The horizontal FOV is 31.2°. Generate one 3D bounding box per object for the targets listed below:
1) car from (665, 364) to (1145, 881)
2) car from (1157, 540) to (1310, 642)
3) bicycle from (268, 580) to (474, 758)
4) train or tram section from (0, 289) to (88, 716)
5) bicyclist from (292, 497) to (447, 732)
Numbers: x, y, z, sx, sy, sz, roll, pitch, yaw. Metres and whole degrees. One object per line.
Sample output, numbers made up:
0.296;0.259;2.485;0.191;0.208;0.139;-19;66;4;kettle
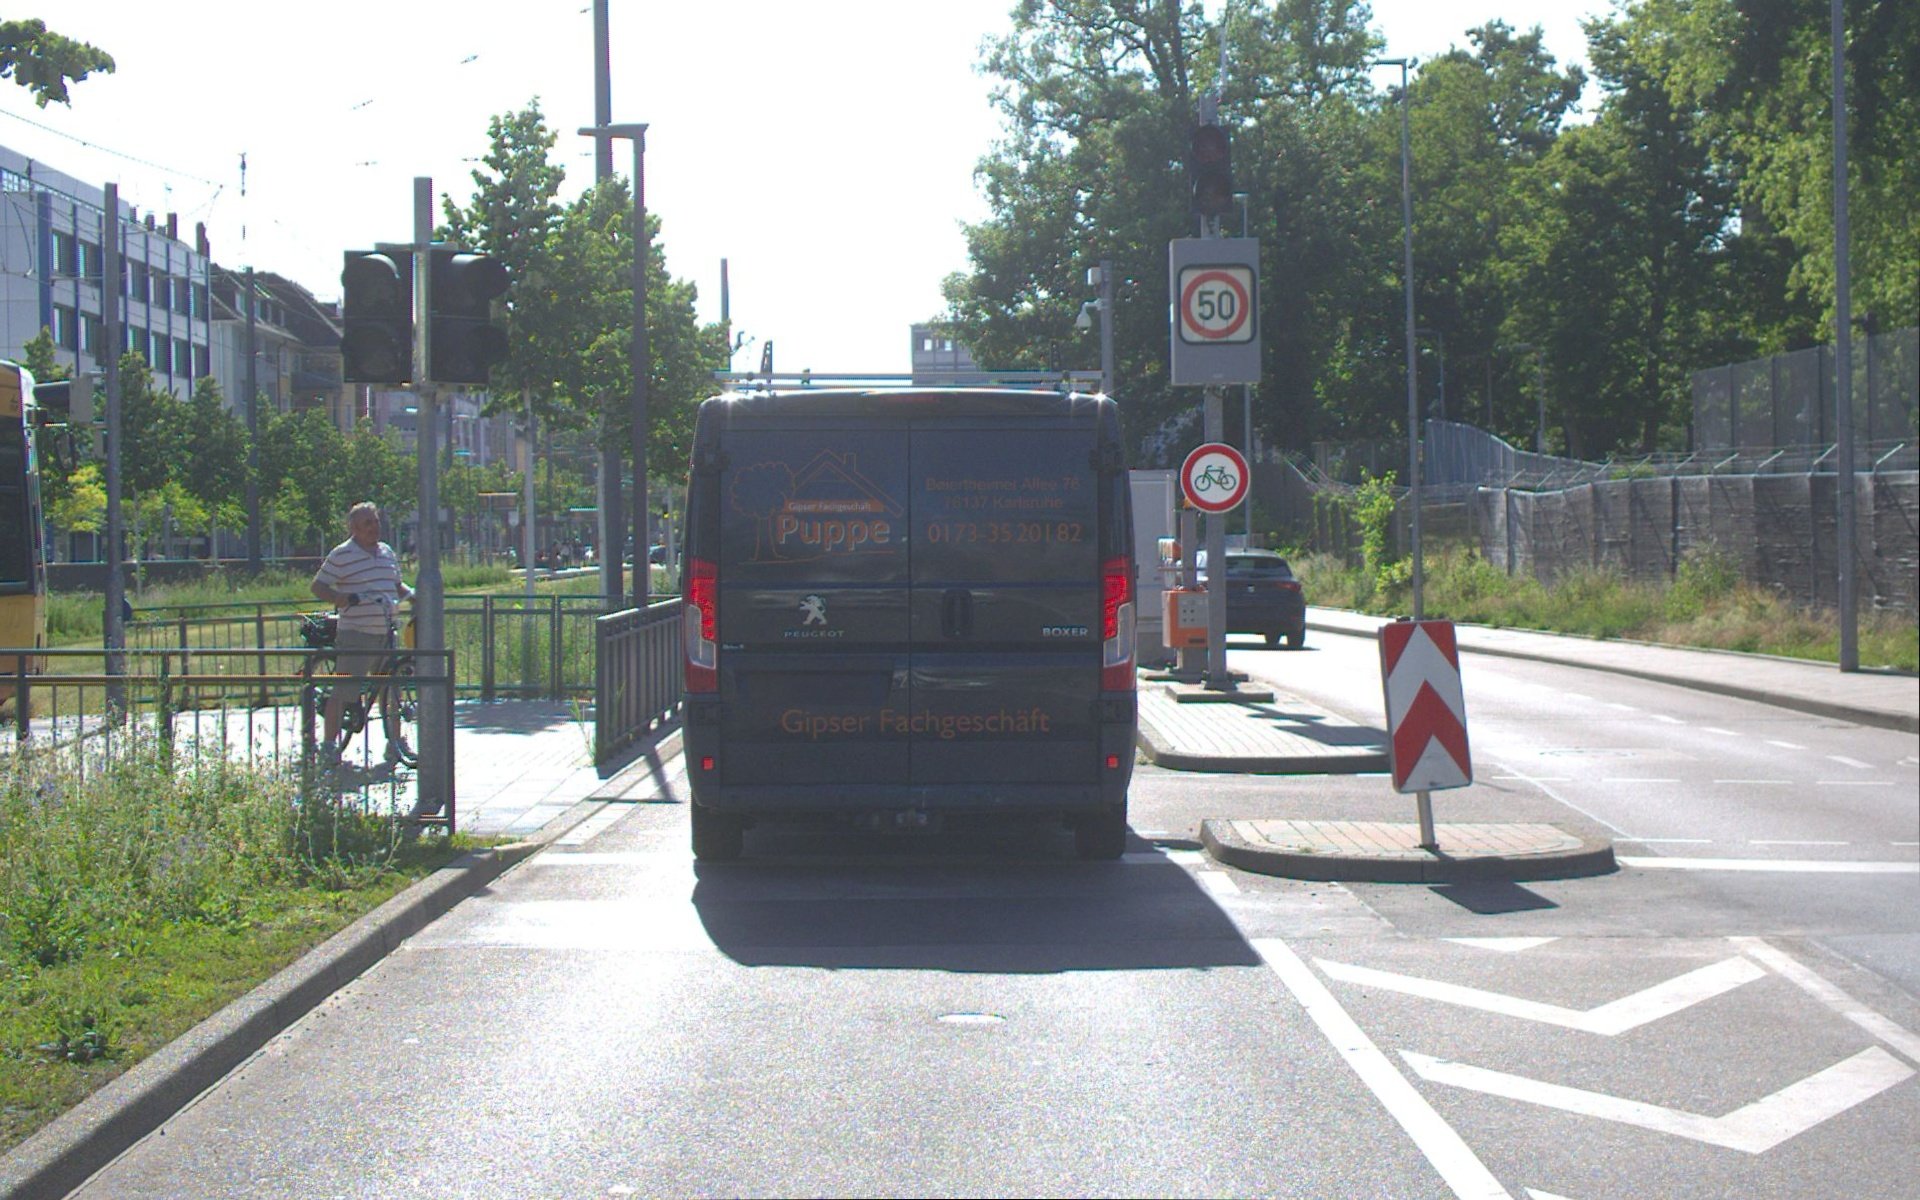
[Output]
-0.296;0.062;16.911;2.082;2.241;4.000;0;1;-2;car
4.053;-0.164;51.475;1.763;1.457;4.001;0;1;-3;car
-3.881;0.424;22.521;0.732;1.087;2.083;0;1;-27;bicycle
-9.165;-0.784;26.728;1.993;3.656;11.684;0;1;-1;train or tram section
-3.876;0.081;22.550;0.826;1.507;0.730;0;1;-26;bicyclist
